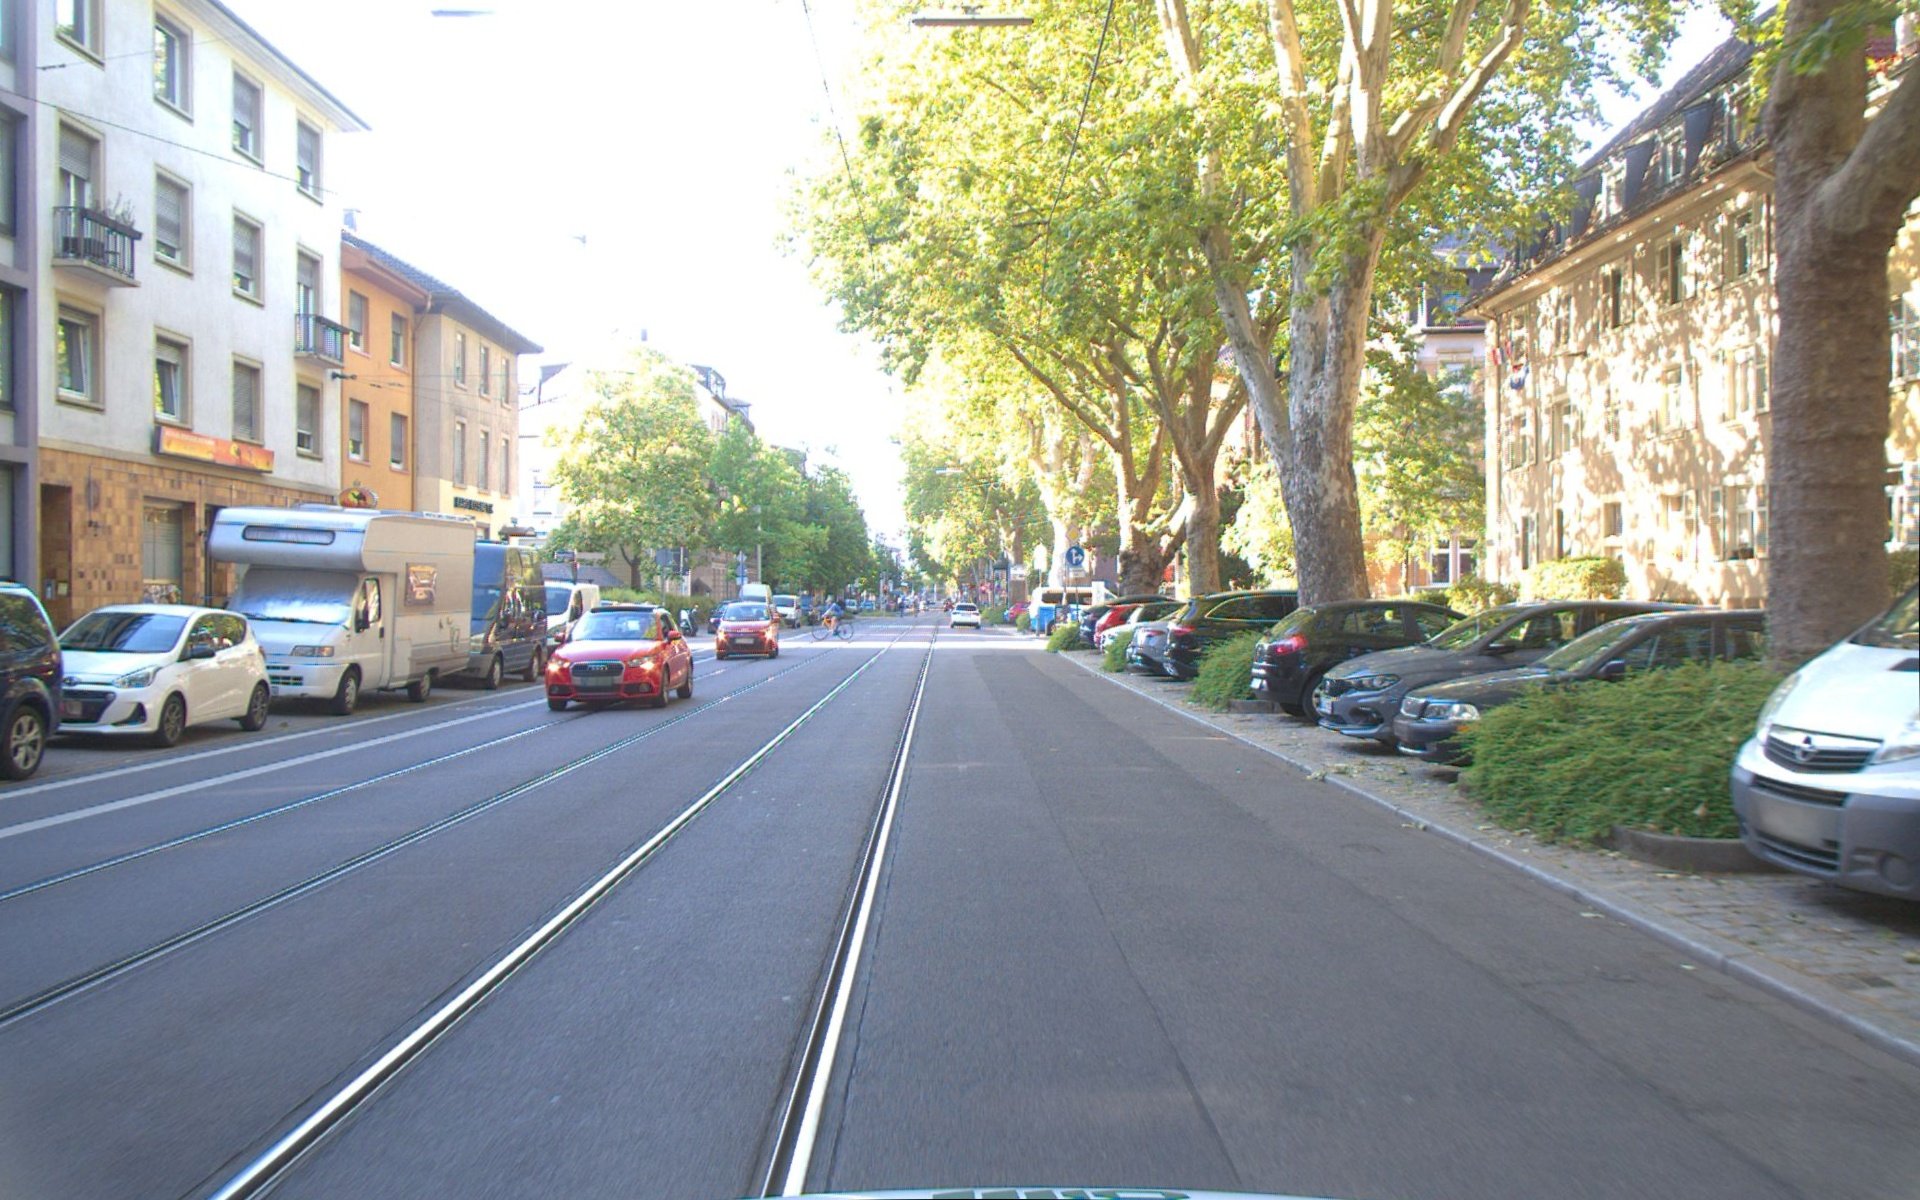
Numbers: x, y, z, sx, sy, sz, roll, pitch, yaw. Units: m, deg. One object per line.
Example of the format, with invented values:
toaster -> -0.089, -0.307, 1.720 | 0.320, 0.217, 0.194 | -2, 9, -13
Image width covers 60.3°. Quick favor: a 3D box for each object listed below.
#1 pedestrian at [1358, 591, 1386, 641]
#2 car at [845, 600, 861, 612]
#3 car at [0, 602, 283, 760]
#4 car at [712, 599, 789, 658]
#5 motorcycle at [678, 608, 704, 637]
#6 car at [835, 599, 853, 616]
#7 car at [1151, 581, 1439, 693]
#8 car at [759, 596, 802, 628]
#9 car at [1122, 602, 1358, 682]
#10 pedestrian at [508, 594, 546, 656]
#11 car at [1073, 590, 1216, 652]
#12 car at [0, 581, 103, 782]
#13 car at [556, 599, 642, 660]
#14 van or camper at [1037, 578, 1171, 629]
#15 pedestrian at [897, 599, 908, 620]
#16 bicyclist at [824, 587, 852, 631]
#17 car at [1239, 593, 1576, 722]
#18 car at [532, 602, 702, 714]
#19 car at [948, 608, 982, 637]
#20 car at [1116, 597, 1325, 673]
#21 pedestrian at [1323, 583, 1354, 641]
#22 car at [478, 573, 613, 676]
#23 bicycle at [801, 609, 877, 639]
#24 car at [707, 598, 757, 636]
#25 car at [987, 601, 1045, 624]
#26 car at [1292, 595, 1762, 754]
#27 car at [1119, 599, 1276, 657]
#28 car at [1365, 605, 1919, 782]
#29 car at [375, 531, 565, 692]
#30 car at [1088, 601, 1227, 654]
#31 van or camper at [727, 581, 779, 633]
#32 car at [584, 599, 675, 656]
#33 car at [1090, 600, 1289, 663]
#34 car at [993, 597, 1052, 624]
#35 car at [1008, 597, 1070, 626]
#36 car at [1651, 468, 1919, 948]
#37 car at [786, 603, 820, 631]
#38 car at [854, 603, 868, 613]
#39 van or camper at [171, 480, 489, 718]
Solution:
pedestrian -> 12.335, 0.463, 49.530 | 0.648, 1.480, 0.821 | 0, 0, -1
car -> -13.630, 0.759, 210.798 | 1.880, 1.443, 3.588 | 0, 0, -3
car -> -9.327, 0.832, 18.832 | 1.676, 1.514, 3.861 | 3, 0, -2
car -> -5.659, 0.741, 45.041 | 1.629, 1.505, 3.950 | -1, 0, -1
motorcycle -> -11.687, 0.979, 71.850 | 0.748, 1.126, 2.330 | 0, 2, -1
car -> -12.501, 0.826, 178.560 | 1.880, 1.444, 3.717 | -2, -6, -3
car -> 5.464, 0.590, 27.481 | 4.402, 1.630, 2.028 | -2, 0, 3
car -> -10.816, 0.699, 99.887 | 2.129, 1.893, 4.658 | 0, 0, -1
car -> 5.347, 0.783, 31.957 | 4.209, 1.464, 1.947 | 0, 0, -2
pedestrian -> -11.493, 0.659, 43.891 | 0.771, 1.620, 0.941 | 0, 0, -1
car -> 5.253, 0.588, 47.439 | 3.845, 1.699, 1.960 | 0, 0, -3
car -> -9.172, 0.687, 13.373 | 1.913, 1.716, 5.069 | 2, 0, -2
car -> -9.644, 0.763, 44.358 | 1.539, 1.553, 3.041 | 1, 0, 1
van or camper -> 6.171, 0.129, 71.364 | 5.447, 2.048, 2.242 | -1, 2, -5
pedestrian -> -5.793, 0.968, 167.803 | 1.026, 2.049, 1.082 | 0, 0, 2
bicyclist -> -4.795, 0.344, 64.918 | 1.027, 1.735, 1.055 | 0, 0, -10
car -> 5.528, 0.688, 20.743 | 3.760, 1.536, 1.710 | 0, 0, -1
car -> -4.974, 0.785, 24.502 | 1.688, 1.462, 4.068 | -1, 0, -1
car -> 0.278, 1.285, 95.732 | 1.879, 1.612, 3.790 | -1, 0, -1
car -> 5.362, 0.709, 34.420 | 4.057, 1.535, 1.796 | 0, 0, 0
pedestrian -> 11.513, 0.364, 50.348 | 0.745, 1.769, 0.821 | 0, 0, -1
car -> -9.482, 0.497, 38.296 | 1.913, 2.128, 5.246 | 3, 1, -3
bicycle -> -4.763, 0.941, 64.917 | 2.894, 1.124, 1.049 | 0, 0, -10
car -> -10.427, 0.765, 75.982 | 1.751, 1.614, 4.342 | 3, 0, -2
car -> 3.857, 0.829, 113.824 | 3.905, 1.547, 2.000 | 0, 0, -1
car -> 5.681, 0.719, 16.942 | 4.160, 1.509, 1.897 | 0, 0, -1
car -> 6.098, 0.708, 42.811 | 3.803, 1.460, 1.753 | 0, 0, -1
car -> 5.789, 0.752, 14.062 | 4.304, 1.404, 1.805 | 0, 0, 3
car -> -9.401, 0.193, 32.241 | 2.044, 2.779, 5.308 | 3, 0, -1
car -> 5.362, 0.730, 45.216 | 3.575, 1.402, 1.889 | 0, 0, 0
van or camper -> -10.627, 0.341, 85.215 | 2.037, 2.577, 5.317 | 0, 0, -1
car -> -9.690, 0.778, 48.833 | 1.799, 1.494, 5.067 | 3, 0, -3
car -> 5.539, 0.750, 40.350 | 4.591, 1.472, 1.892 | 0, 0, -1
car -> 4.187, 0.703, 111.522 | 3.905, 1.816, 2.000 | 0, 0, -1
car -> 5.044, 0.726, 105.987 | 3.905, 1.816, 2.000 | 0, 0, -1
car -> 6.158, 0.437, 8.047 | 4.739, 1.998, 2.064 | 0, 0, -3
car -> -10.820, 1.135, 114.299 | 1.953, 1.893, 4.178 | 0, 0, -1
car -> -13.915, 1.116, 232.886 | 1.880, 1.443, 3.588 | 0, 0, -3
van or camper -> -9.414, -0.012, 25.535 | 2.290, 3.094, 6.397 | 3, 0, 0
